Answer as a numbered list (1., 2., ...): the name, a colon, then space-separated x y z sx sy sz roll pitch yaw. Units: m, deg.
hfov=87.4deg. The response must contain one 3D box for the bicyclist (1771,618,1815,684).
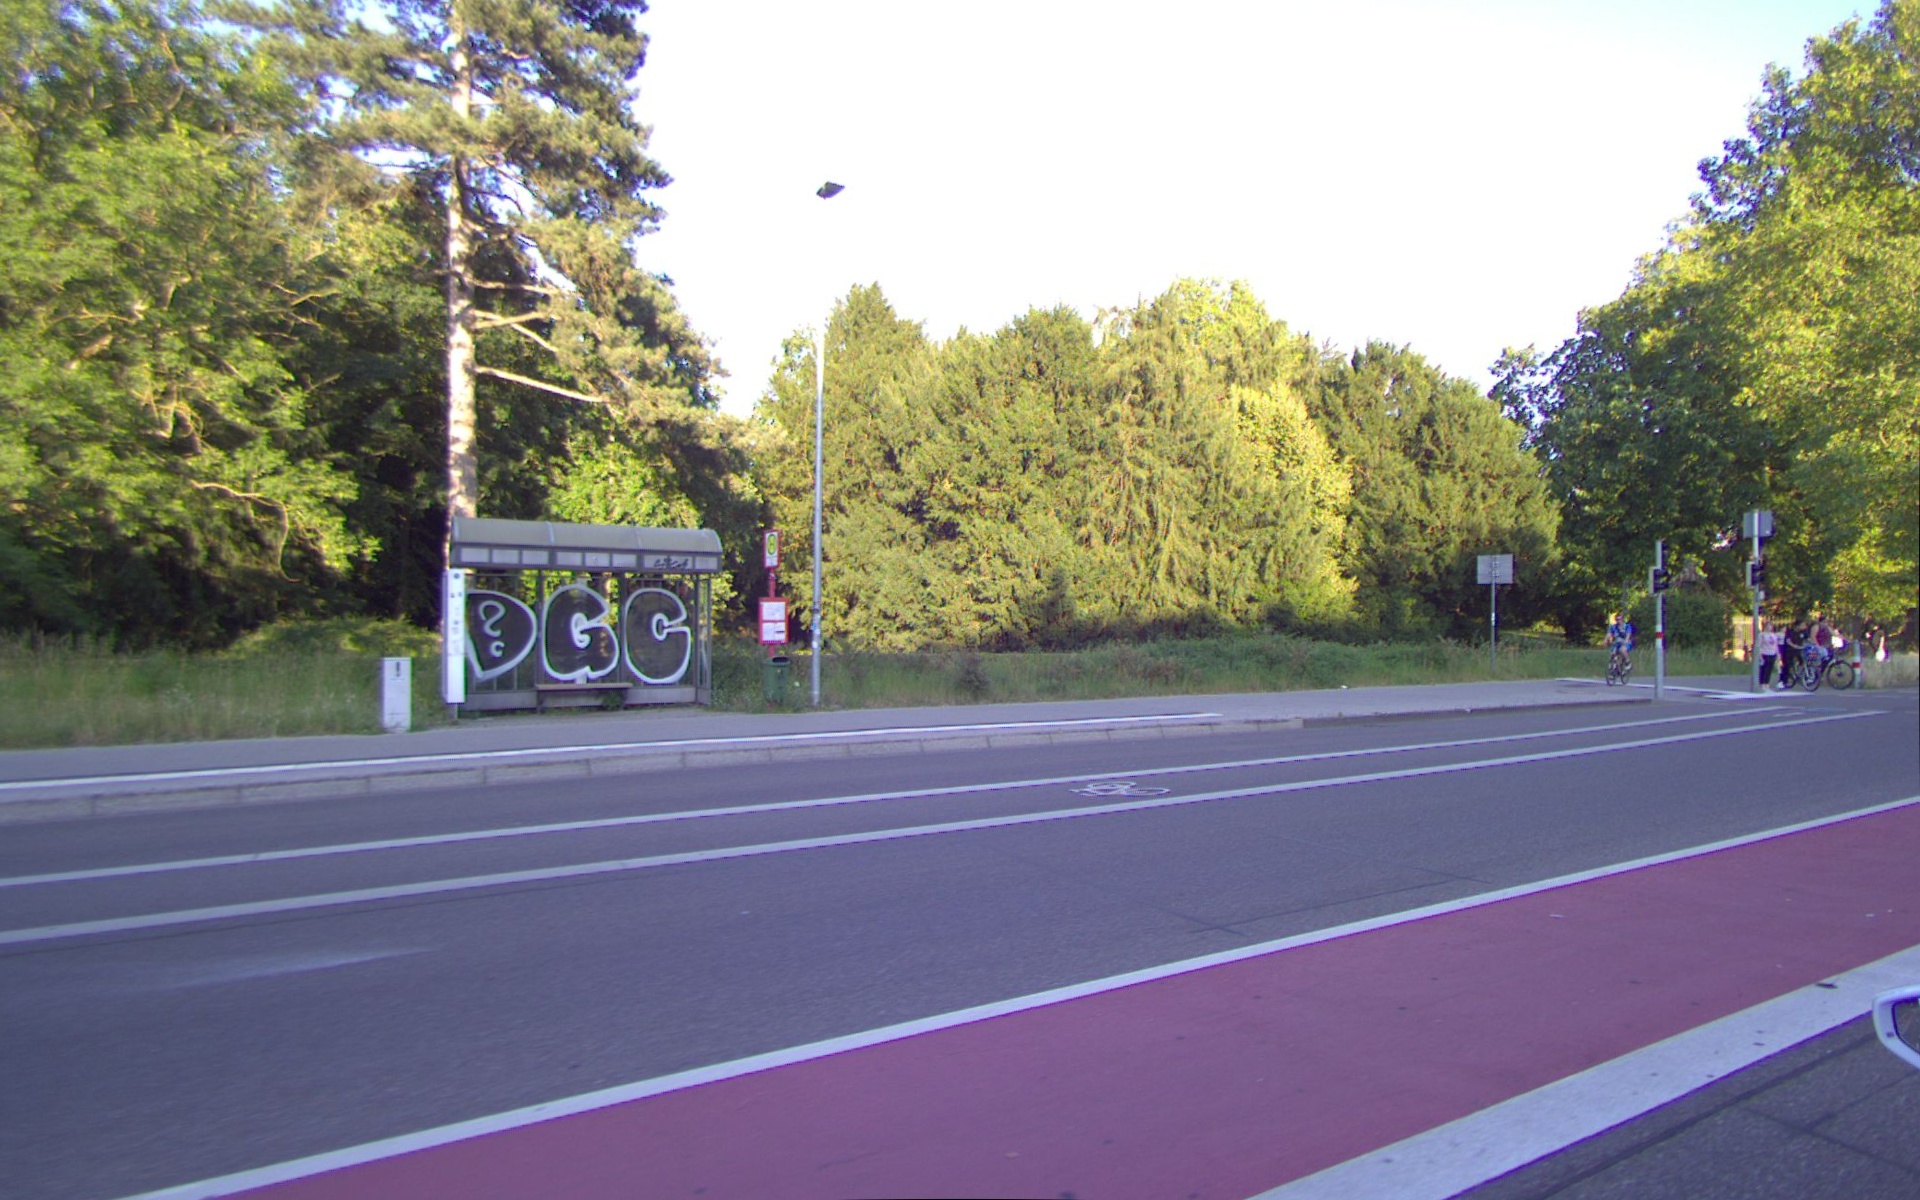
1. bicyclist: 21.494 1.298 25.930 0.618 1.671 0.640 0 -1 2

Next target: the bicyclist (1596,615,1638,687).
1. bicyclist: 17.258 1.321 26.396 0.705 1.848 0.730 2 -2 -34

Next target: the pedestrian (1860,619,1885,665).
1. pedestrian: 40.478 1.857 44.549 0.692 2.040 0.637 1 -1 -27

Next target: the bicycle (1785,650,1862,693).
1. bicycle: 22.932 1.893 26.715 0.568 1.043 1.772 0 -1 2

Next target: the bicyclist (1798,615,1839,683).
1. bicyclist: 22.942 1.301 26.842 0.564 1.804 0.640 0 -1 2

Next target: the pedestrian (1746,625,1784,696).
1. pedestrian: 19.832 1.473 24.749 0.492 1.718 0.605 1 -1 -27

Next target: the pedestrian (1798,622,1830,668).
1. pedestrian: 38.868 2.029 45.742 0.982 2.040 0.799 1 0 -29

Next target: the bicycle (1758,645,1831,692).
1. bicycle: 21.492 1.752 25.901 0.620 1.126 1.569 0 -1 2

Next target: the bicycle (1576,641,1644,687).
1. bicycle: 17.068 1.660 26.360 2.101 1.115 0.765 1 -1 -35

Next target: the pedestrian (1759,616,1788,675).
1. pedestrian: 29.016 1.614 35.824 0.638 2.040 0.606 1 0 23

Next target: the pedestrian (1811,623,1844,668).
1. pedestrian: 39.988 2.083 46.299 1.062 2.040 0.758 1 0 -24
